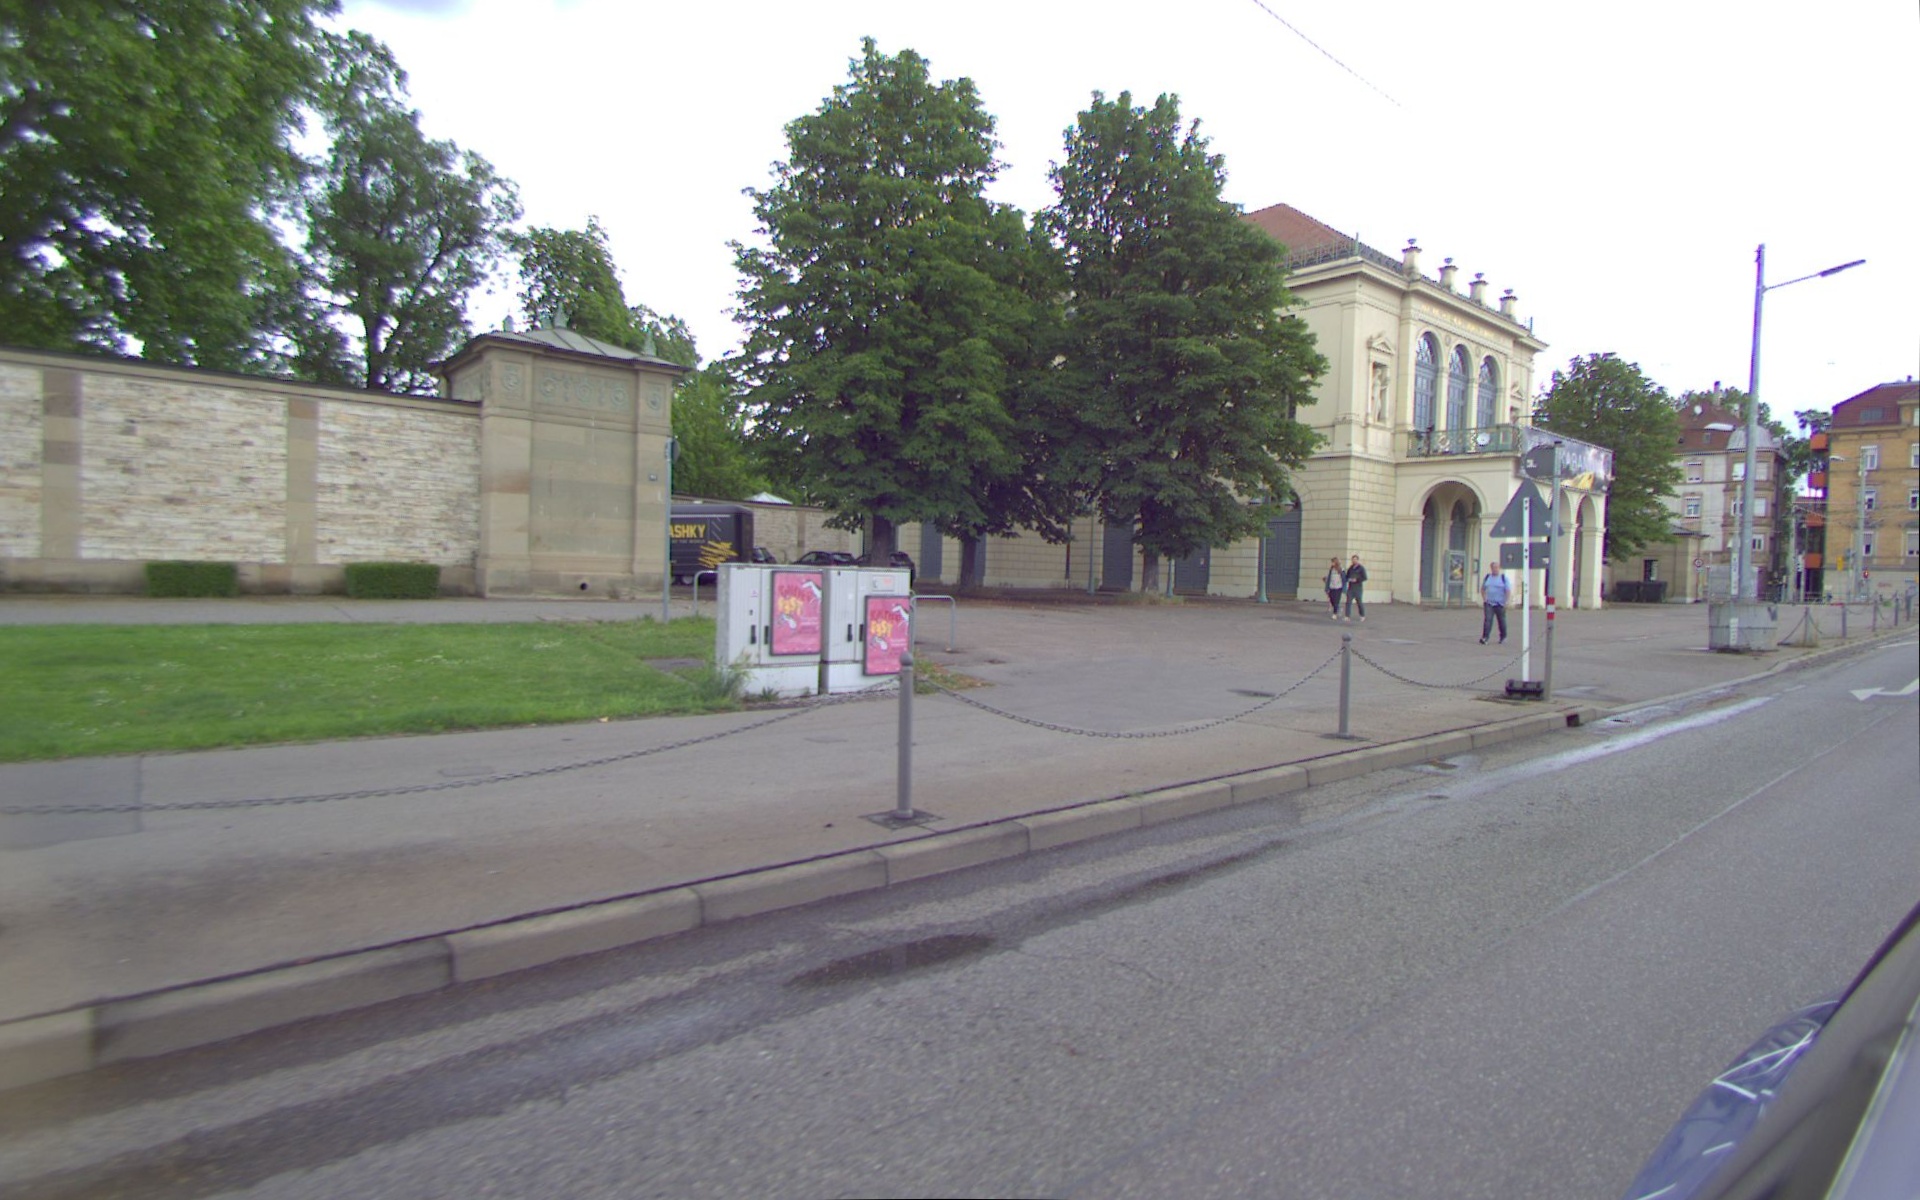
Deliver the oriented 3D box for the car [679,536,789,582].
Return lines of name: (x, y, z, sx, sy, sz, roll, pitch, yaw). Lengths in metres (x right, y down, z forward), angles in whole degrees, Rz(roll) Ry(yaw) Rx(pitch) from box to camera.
car: (-8.674, -1.523, 38.888, 3.740, 1.672, 1.890, 0, 1, 19)

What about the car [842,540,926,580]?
car: (-3.426, -1.746, 45.152, 1.867, 1.672, 3.785, -1, 1, -40)

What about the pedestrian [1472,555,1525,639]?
pedestrian: (11.828, -0.084, 22.222, 0.920, 1.789, 0.672, 0, 2, -41)

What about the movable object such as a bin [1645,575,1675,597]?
movable object such as a bin: (46.214, -0.929, 66.809, 1.355, 1.385, 1.297, -1, 3, -41)

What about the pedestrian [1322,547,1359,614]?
pedestrian: (10.506, -0.542, 27.937, 0.794, 1.814, 0.596, 0, 2, -41)

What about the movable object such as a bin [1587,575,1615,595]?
movable object such as a bin: (43.699, -1.036, 69.014, 1.172, 1.297, 1.297, -1, 3, -41)

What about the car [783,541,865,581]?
car: (-5.895, -1.645, 43.689, 1.867, 1.588, 3.647, -1, 1, -40)

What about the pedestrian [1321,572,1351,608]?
pedestrian: (11.053, -0.304, 29.787, 0.748, 1.013, 0.594, 2, 2, 15)

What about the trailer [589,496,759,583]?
trailer: (-9.947, -2.068, 35.445, 5.375, 2.891, 1.961, 1, 0, 1)

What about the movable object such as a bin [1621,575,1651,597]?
movable object such as a bin: (45.313, -0.936, 67.840, 1.355, 1.423, 1.297, -1, 3, -41)

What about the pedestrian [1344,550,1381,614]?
pedestrian: (10.935, -0.499, 27.497, 0.776, 1.720, 0.597, 0, 2, -41)

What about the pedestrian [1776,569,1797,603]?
pedestrian: (45.022, -0.778, 55.133, 0.920, 1.789, 0.672, 0, 2, -41)
